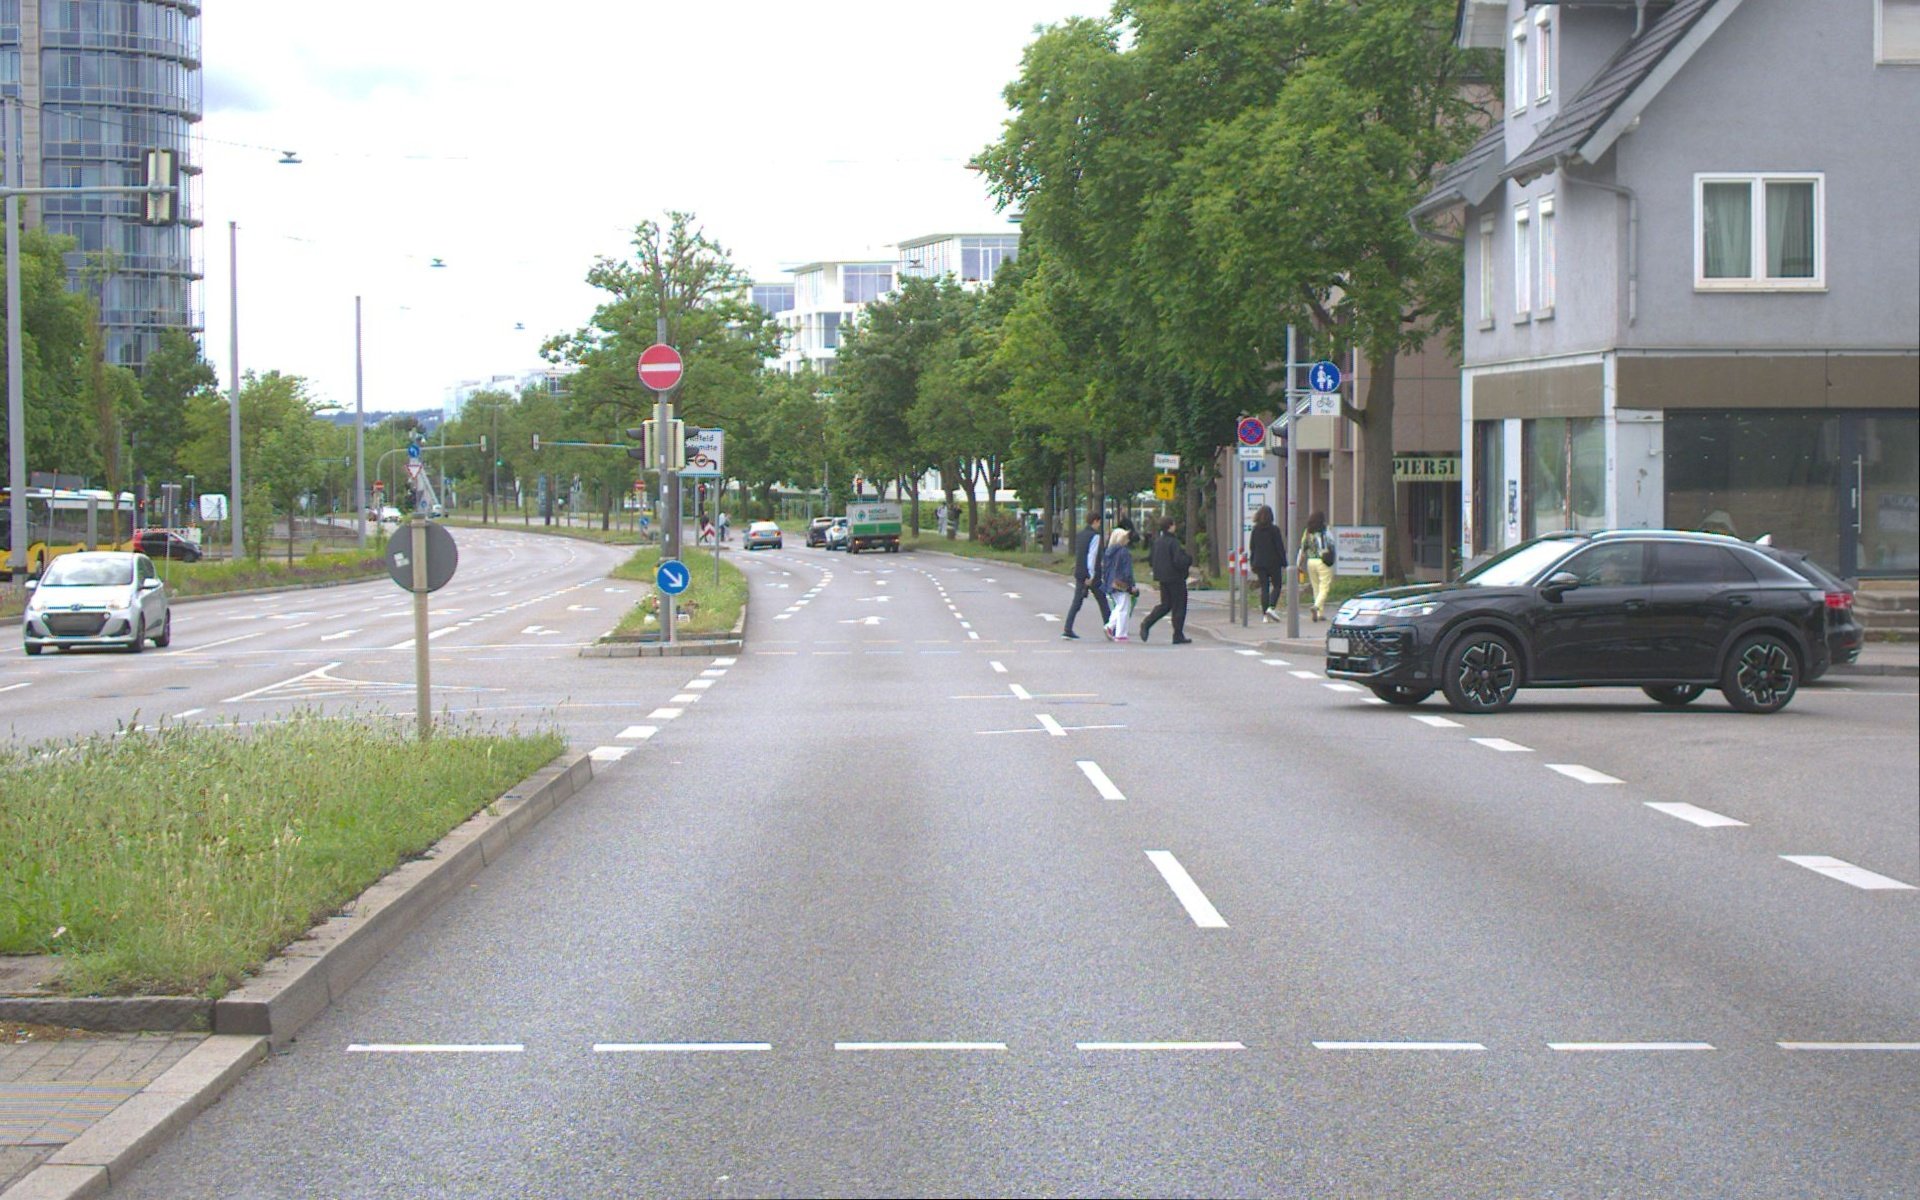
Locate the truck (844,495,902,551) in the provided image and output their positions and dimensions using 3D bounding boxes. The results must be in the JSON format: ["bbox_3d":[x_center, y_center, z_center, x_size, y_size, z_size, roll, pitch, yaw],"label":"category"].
[{"bbox_3d":[-3.896,-3.408,152.575,2.251,2.408,4.934,-1,1,-5],"label":"truck"}]

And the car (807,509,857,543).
[{"bbox_3d":[-6.498,-3.737,173.864,2.250,1.641,4.934,-1,1,-5],"label":"car"}]

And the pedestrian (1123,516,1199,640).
[{"bbox_3d":[2.928,-0.326,50.026,0.867,1.773,0.708,-1,1,-23],"label":"pedestrian"}]

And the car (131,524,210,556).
[{"bbox_3d":[-38.153,-2.912,166.237,3.549,1.487,1.708,-1,1,-8],"label":"car"}]

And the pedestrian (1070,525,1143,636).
[{"bbox_3d":[2.008,-0.273,47.174,0.867,1.502,0.708,-1,1,-9],"label":"pedestrian"}]

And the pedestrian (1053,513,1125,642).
[{"bbox_3d":[1.799,-0.321,47.934,0.867,1.773,0.708,-1,1,-9],"label":"pedestrian"}]

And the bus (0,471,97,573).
[{"bbox_3d":[-31.391,-2.564,114.470,3.144,3.214,10.286,-1,1,-3],"label":"bus"}]

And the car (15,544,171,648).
[{"bbox_3d":[-12.802,-0.090,50.929,1.684,1.457,3.556,-1,1,-5],"label":"car"}]

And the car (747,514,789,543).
[{"bbox_3d":[-9.685,-3.591,173.182,1.967,1.415,4.023,-1,1,-5],"label":"car"}]

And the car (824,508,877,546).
[{"bbox_3d":[-5.237,-3.449,163.758,2.251,1.751,4.934,-1,1,-5],"label":"car"}]

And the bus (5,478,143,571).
[{"bbox_3d":[-31.729,-2.705,123.474,3.144,3.214,7.766,-1,1,-2],"label":"bus"}]

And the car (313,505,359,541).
[{"bbox_3d":[-36.324,-4.455,200.267,1.965,2.007,4.000,1,1,-1],"label":"car"}]

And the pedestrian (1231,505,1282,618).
[{"bbox_3d":[4.369,-0.571,50.724,0.705,1.656,0.870,0,1,2],"label":"pedestrian"}]

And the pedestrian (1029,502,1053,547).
[{"bbox_3d":[3.621,-3.375,154.029,0.971,2.007,0.981,1,0,-1],"label":"pedestrian"}]

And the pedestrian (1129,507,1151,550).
[{"bbox_3d":[6.462,-2.571,123.558,0.650,1.564,0.671,-1,1,-8],"label":"pedestrian"}]

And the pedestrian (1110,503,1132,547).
[{"bbox_3d":[5.782,-2.683,123.503,0.650,1.564,0.671,-1,1,-8],"label":"pedestrian"}]

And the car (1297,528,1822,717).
[{"bbox_3d":[5.141,0.153,29.630,4.057,1.516,1.841,-1,1,-16],"label":"car"}]

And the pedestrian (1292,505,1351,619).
[{"bbox_3d":[5.286,-0.557,50.349,0.705,1.656,0.870,-1,1,-4],"label":"pedestrian"}]

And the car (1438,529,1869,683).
[{"bbox_3d":[6.969,0.048,34.878,4.086,1.489,1.895,-1,1,5],"label":"car"}]

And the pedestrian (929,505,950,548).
[{"bbox_3d":[-1.090,-3.924,183.464,0.930,2.300,1.011,1,0,-10],"label":"pedestrian"}]

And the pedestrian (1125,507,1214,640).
[{"bbox_3d":[2.809,-0.358,46.188,1.048,1.754,0.708,-1,1,-9],"label":"pedestrian"}]
